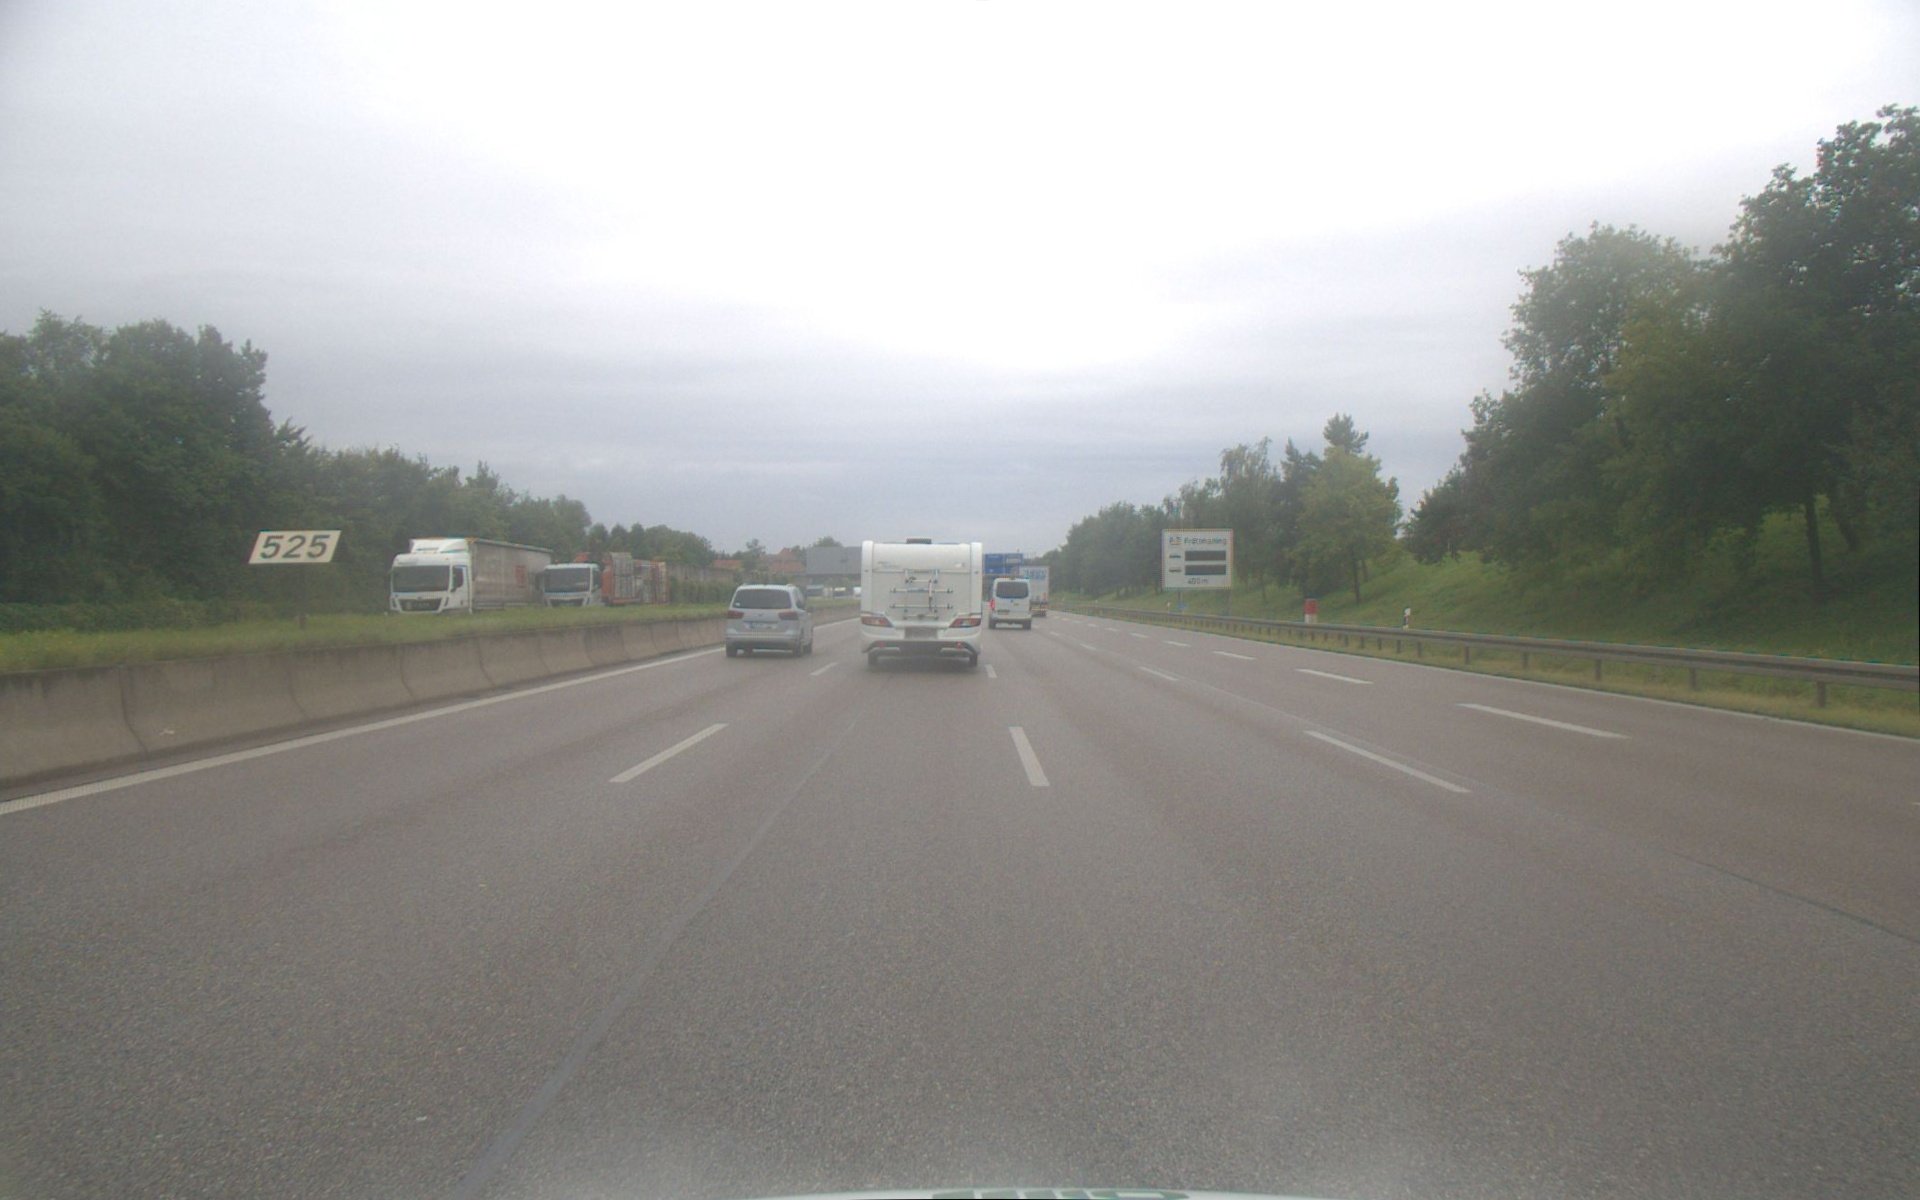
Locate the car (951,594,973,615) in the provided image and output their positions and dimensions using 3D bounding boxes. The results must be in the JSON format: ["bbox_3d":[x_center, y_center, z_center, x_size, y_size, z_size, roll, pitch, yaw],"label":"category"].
[{"bbox_3d":[0.151,0.373,141.327,1.777,1.770,3.881,1,0,-1],"label":"car"}]

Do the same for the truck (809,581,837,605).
[{"bbox_3d":[-19.827,-1.008,239.973,2.824,3.277,11.358,1,0,1],"label":"truck"}]

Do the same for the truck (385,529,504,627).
[{"bbox_3d":[-20.226,-0.806,65.335,2.612,3.613,6.759,1,0,-1],"label":"truck"}]

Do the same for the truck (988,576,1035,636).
[{"bbox_3d":[2.497,0.299,81.005,2.011,2.818,5.548,1,0,-1],"label":"truck"}]

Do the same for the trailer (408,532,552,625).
[{"bbox_3d":[-20.256,-0.813,70.711,2.631,3.602,11.869,1,0,0],"label":"trailer"}]

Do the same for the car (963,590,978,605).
[{"bbox_3d":[1.424,-0.419,230.979,1.953,2.049,3.999,1,0,-1],"label":"car"}]

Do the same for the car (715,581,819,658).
[{"bbox_3d":[-4.653,0.460,40.473,2.084,1.736,4.112,1,0,-1],"label":"car"}]

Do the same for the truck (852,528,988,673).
[{"bbox_3d":[-0.821,0.023,34.837,2.607,2.790,5.076,1,0,-1],"label":"truck"}]

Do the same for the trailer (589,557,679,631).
[{"bbox_3d":[-16.546,-0.284,84.499,2.871,3.519,8.319,1,0,0],"label":"trailer"}]

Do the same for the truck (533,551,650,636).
[{"bbox_3d":[-16.414,-0.245,74.641,2.891,3.527,11.182,1,0,-1],"label":"truck"}]

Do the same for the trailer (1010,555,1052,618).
[{"bbox_3d":[5.874,-1.030,137.892,3.036,5.008,11.790,1,0,1],"label":"trailer"}]
